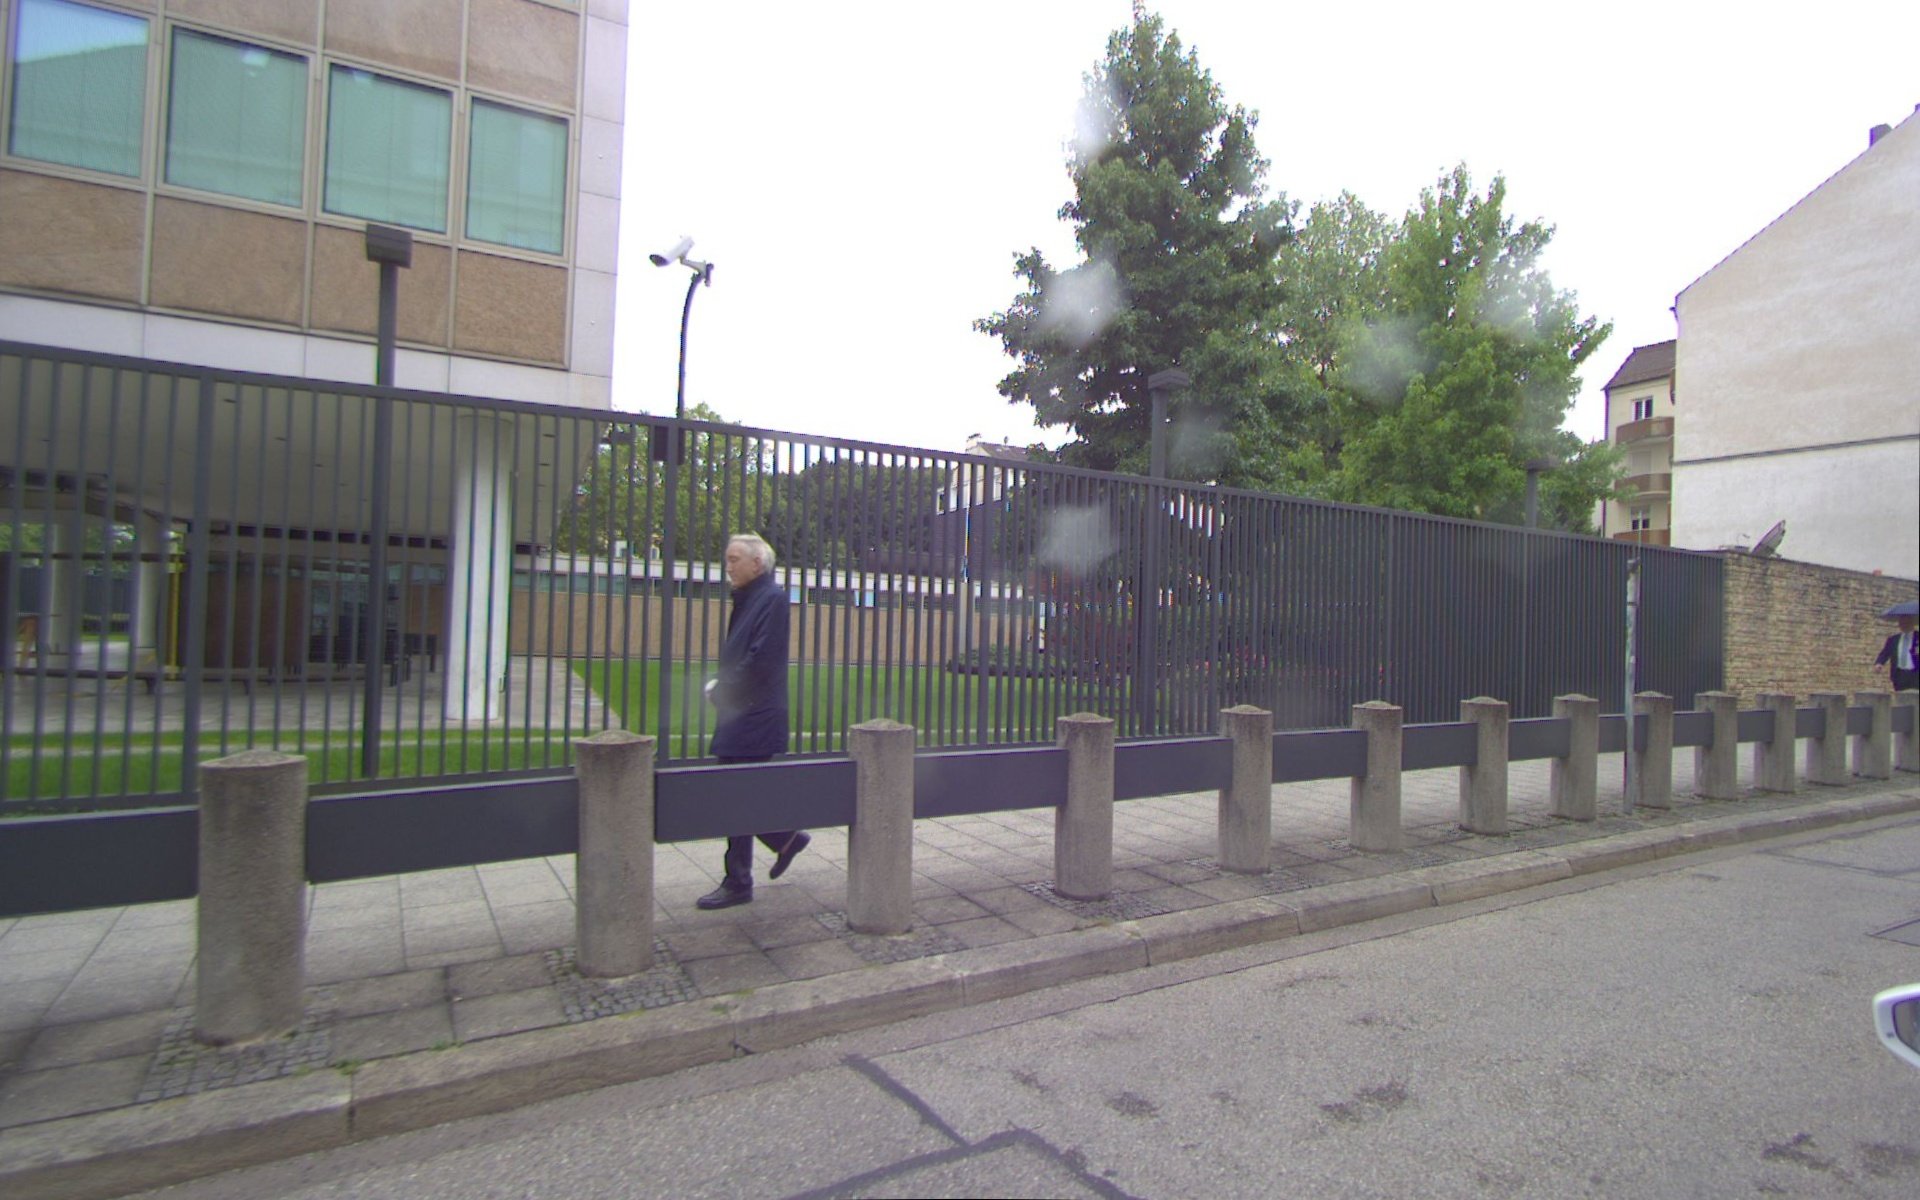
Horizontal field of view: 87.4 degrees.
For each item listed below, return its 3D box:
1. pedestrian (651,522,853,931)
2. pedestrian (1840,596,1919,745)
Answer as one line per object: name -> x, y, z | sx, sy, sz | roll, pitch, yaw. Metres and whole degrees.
pedestrian -> -1.014, 0.569, 4.872 | 0.758, 1.792, 0.621 | 2, -1, -31
pedestrian -> 14.124, 1.030, 14.961 | 1.103, 2.132, 1.218 | 2, -1, -28
